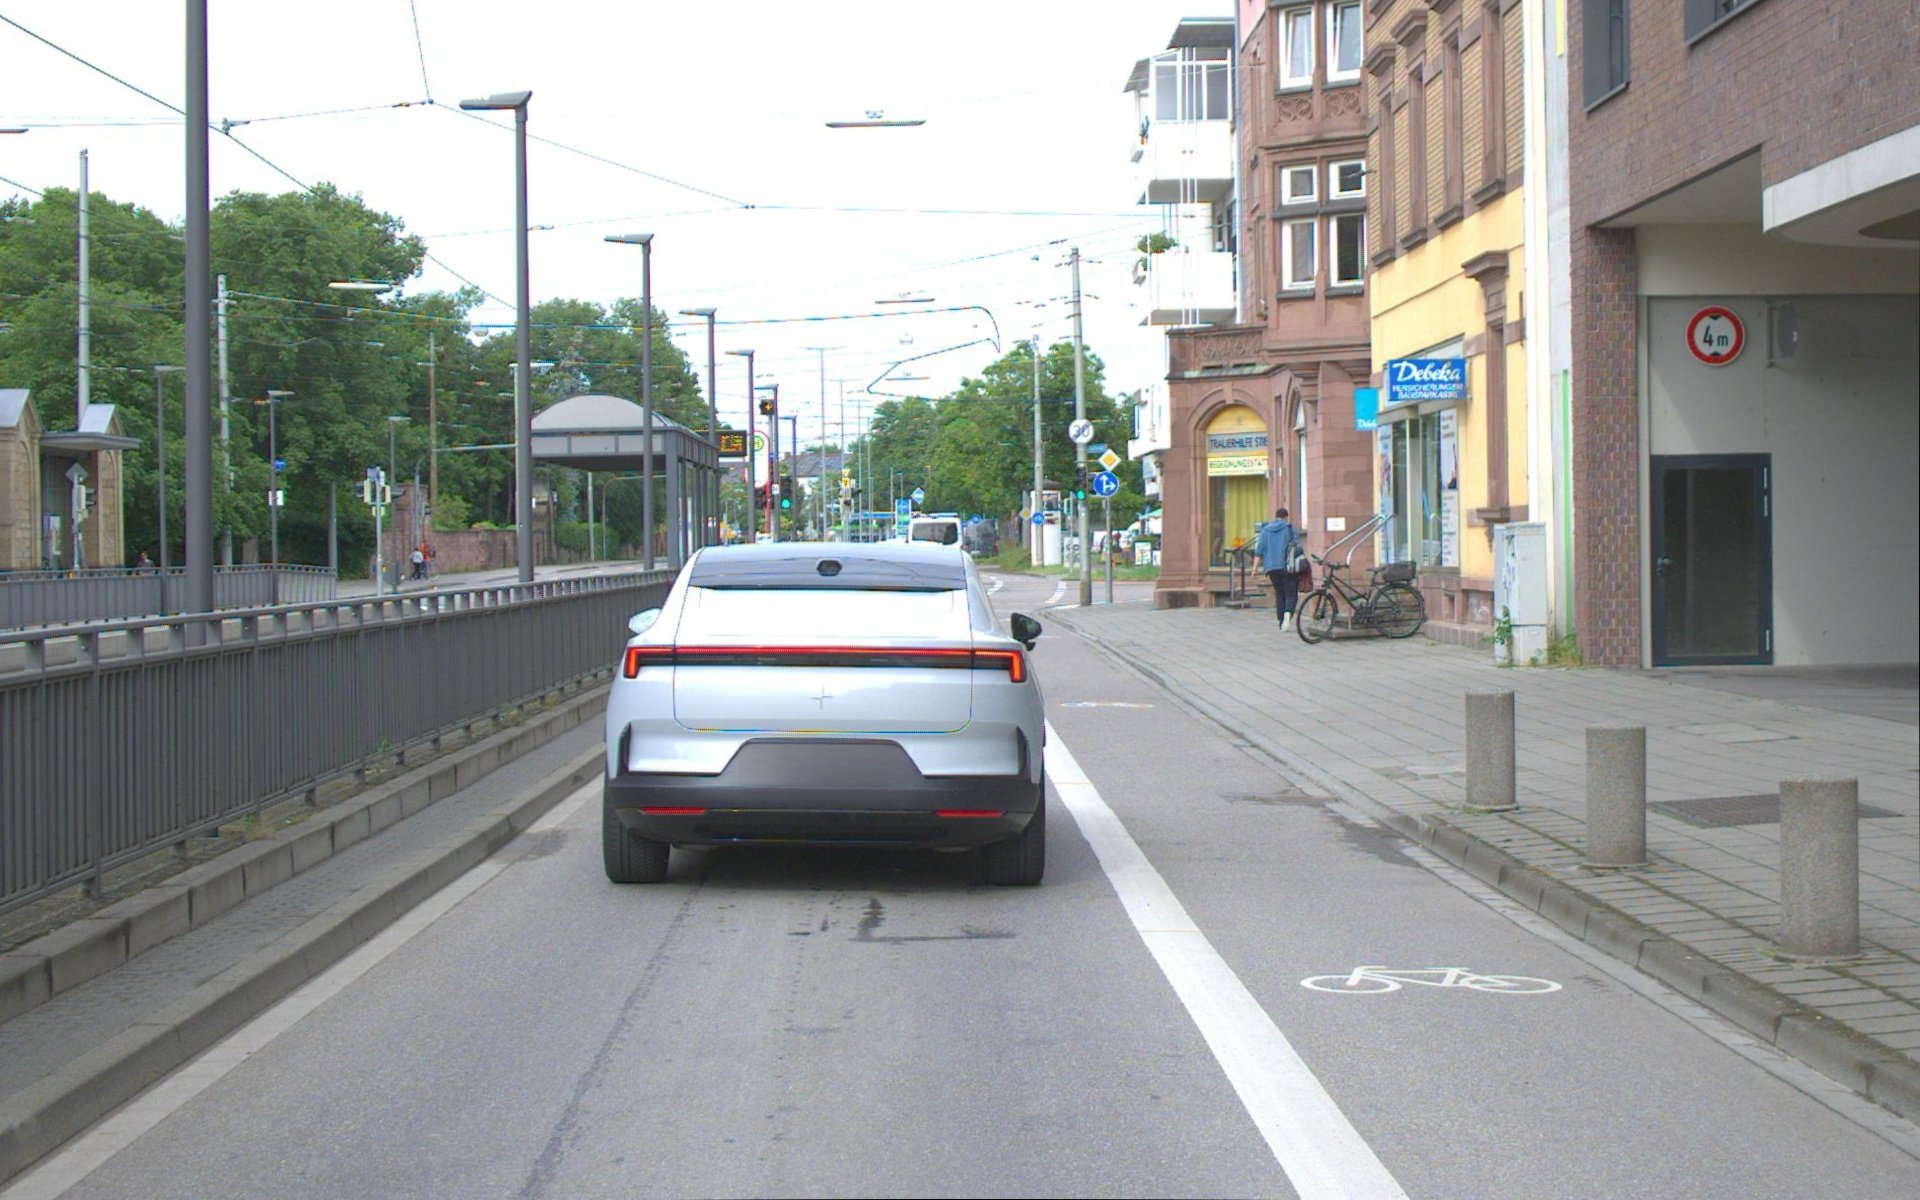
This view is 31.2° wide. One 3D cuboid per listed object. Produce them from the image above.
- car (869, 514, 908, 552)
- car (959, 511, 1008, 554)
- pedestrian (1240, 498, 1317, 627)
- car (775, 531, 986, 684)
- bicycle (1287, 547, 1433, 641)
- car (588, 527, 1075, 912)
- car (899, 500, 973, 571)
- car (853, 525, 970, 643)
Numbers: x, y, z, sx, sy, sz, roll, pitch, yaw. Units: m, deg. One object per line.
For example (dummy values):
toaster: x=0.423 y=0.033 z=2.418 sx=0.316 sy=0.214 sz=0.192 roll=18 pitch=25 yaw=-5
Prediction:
car: x=-3.816 y=-3.578 z=183.833 sx=1.993 sy=2.007 sz=4.000 roll=-1 pitch=1 yaw=-1
car: x=1.400 y=-4.021 z=204.441 sx=2.807 sy=2.496 sz=5.723 roll=0 pitch=1 yaw=0
pedestrian: x=4.730 y=-0.568 z=51.133 sx=0.961 sy=1.843 sz=0.975 roll=-3 pitch=2 yaw=0
car: x=-0.829 y=0.030 z=35.007 sx=1.993 sy=1.415 sz=4.001 roll=-1 pitch=1 yaw=-2
bicycle: x=5.253 y=-0.078 z=45.210 sx=1.777 sy=1.126 sz=0.642 roll=-3 pitch=1 yaw=-1
car: x=-0.698 y=0.476 z=16.159 sx=1.999 sy=1.575 sz=4.001 roll=0 pitch=0 yaw=-5
car: x=-0.856 y=-2.190 z=117.658 sx=2.225 sy=2.394 sz=5.124 roll=0 pitch=1 yaw=-4
car: x=-0.706 y=-0.253 z=51.217 sx=1.681 sy=1.682 sz=3.824 roll=0 pitch=1 yaw=0
